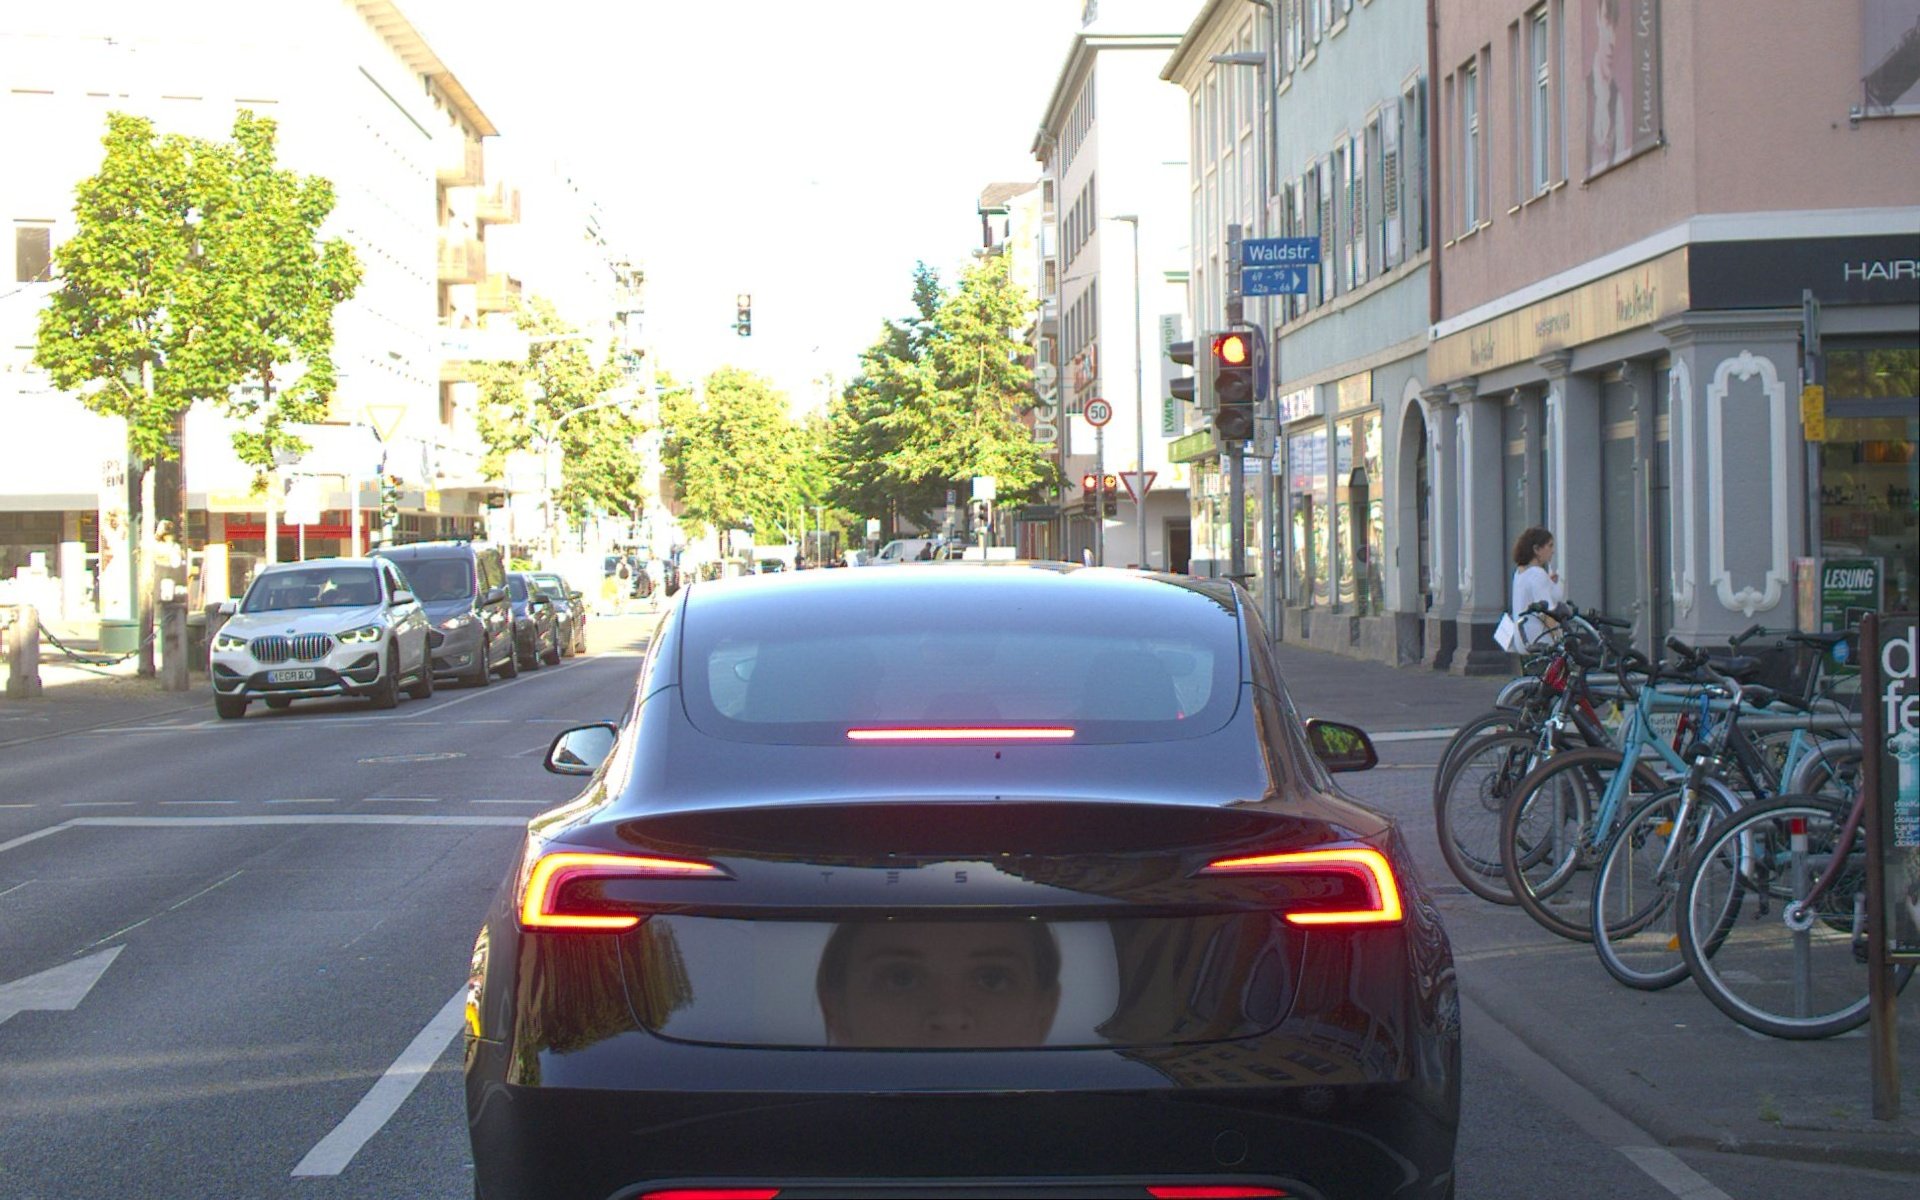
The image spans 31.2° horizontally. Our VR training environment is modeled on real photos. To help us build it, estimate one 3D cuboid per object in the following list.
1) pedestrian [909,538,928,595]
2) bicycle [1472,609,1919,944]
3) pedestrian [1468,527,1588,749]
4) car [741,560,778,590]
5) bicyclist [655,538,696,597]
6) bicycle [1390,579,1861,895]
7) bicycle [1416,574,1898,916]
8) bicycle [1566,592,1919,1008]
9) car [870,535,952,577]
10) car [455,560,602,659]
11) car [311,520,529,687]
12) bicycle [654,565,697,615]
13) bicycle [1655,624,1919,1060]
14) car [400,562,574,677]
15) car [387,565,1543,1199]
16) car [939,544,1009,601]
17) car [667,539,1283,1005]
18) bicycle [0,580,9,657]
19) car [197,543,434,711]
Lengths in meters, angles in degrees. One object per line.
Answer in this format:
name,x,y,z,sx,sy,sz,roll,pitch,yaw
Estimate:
pedestrian,-1.464,-1.190,121.770,0.640,2.007,0.691,0,1,-4
bicycle,2.806,0.624,12.480,1.798,1.120,0.781,-2,1,5
pedestrian,3.998,0.259,24.251,0.747,1.547,0.699,0,1,2
car,-10.930,-1.363,187.085,1.993,1.631,4.001,0,1,-3
bicyclist,-7.907,-0.907,95.624,1.126,1.623,0.965,0,1,-3
bicycle,2.809,0.571,14.689,1.862,1.253,0.832,-2,1,5
bicycle,2.739,0.559,13.658,1.746,1.262,0.781,-2,1,3
bicycle,2.885,0.622,11.128,1.722,1.263,0.790,-2,1,5
car,-2.409,-2.142,167.563,3.986,2.007,2.000,0,1,-2
car,-7.109,0.123,57.034,1.993,1.431,4.675,-4,1,-3
car,-6.619,-0.009,42.614,1.834,1.838,4.674,-4,1,0
bicycle,-7.889,-0.292,95.541,1.111,1.340,4.001,0,1,-3
bicycle,3.031,0.671,9.997,1.886,1.189,0.691,-2,1,5
car,-6.744,0.241,49.443,1.993,1.405,4.675,-4,1,-3
car,-0.011,0.655,7.510,1.848,1.450,4.000,0,1,-1
car,0.394,-0.813,100.802,1.993,1.623,4.000,0,1,0
car,-0.019,0.520,13.219,1.993,1.507,4.176,0,1,-2
bicycle,-15.710,0.281,52.242,2.323,1.152,0.843,0,1,-5
car,-6.749,0.232,36.391,1.807,1.550,4.310,-4,1,-3
